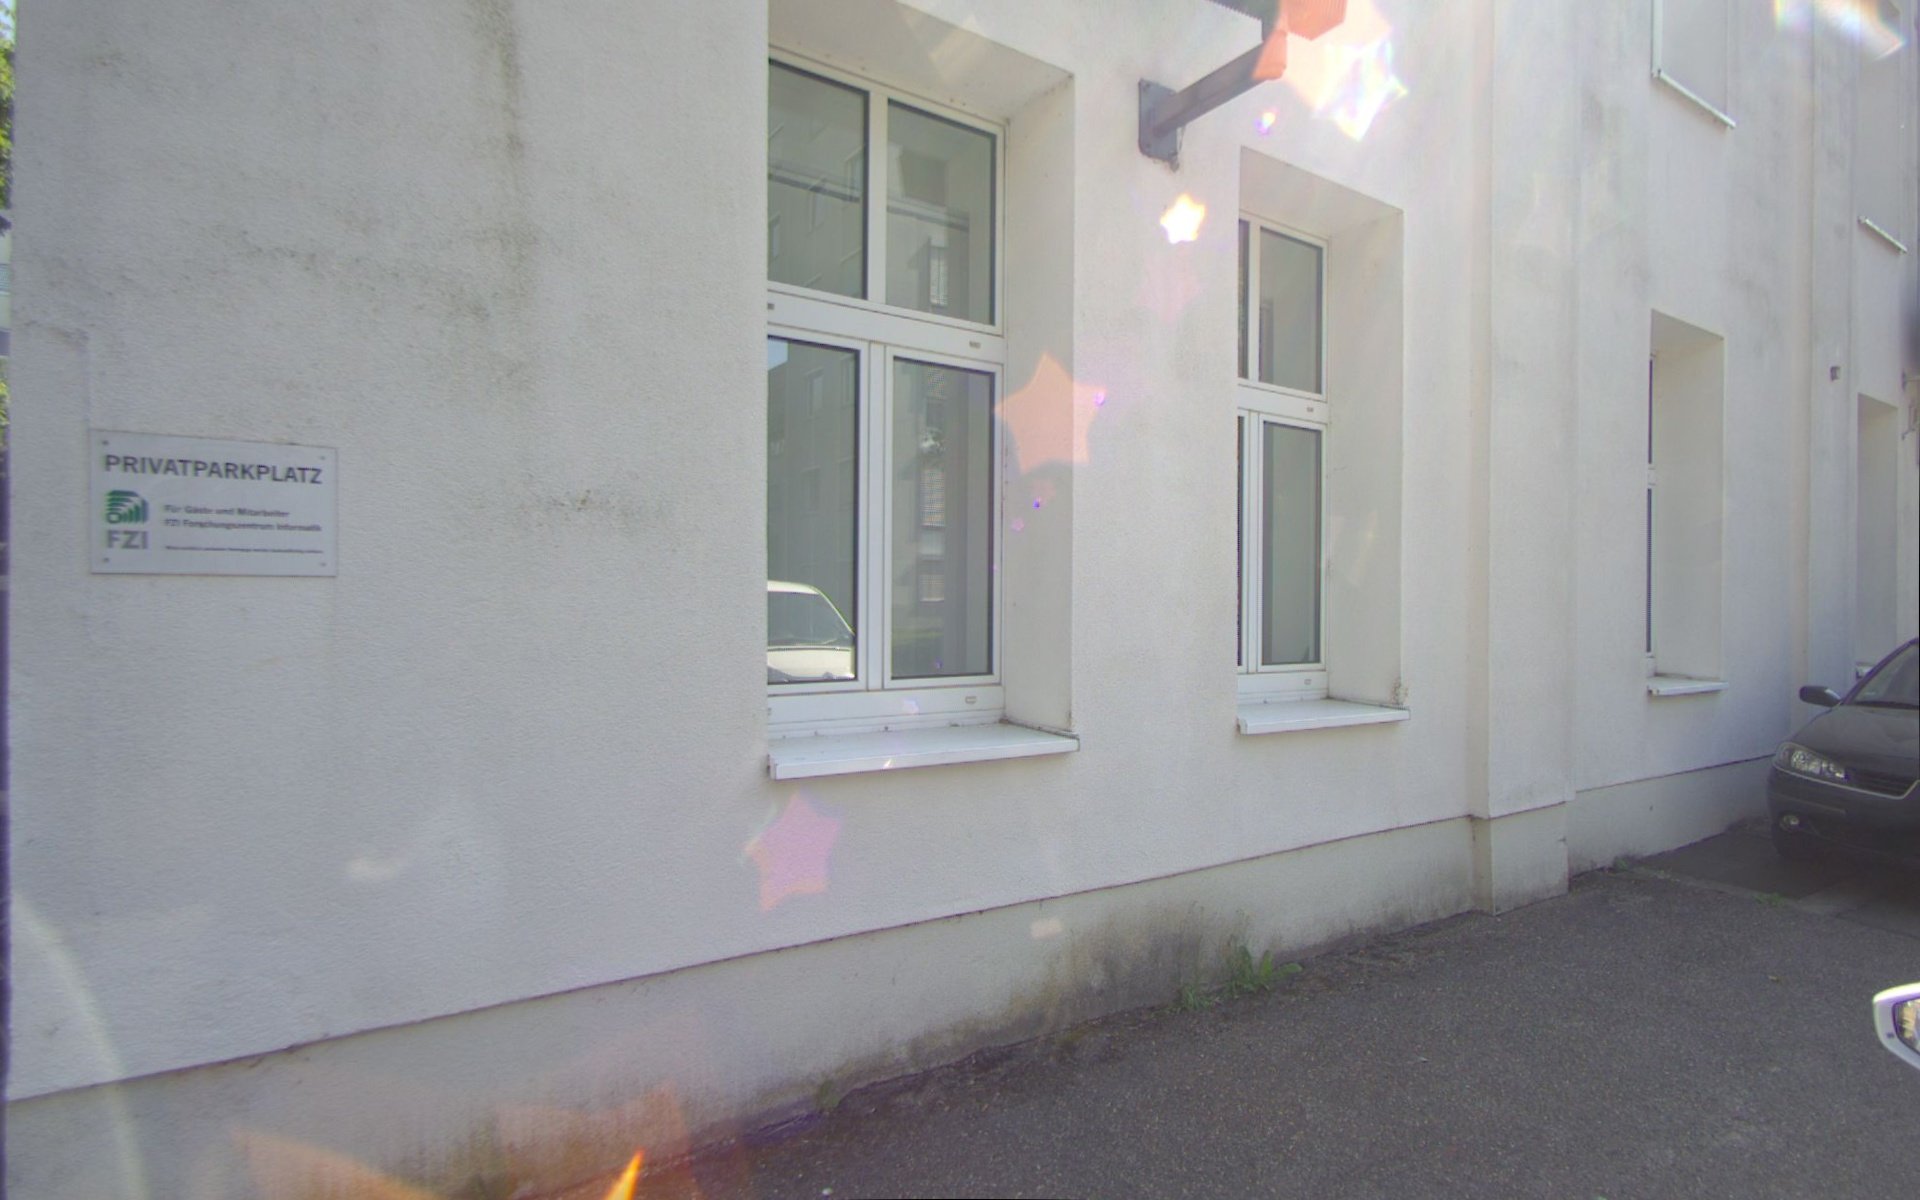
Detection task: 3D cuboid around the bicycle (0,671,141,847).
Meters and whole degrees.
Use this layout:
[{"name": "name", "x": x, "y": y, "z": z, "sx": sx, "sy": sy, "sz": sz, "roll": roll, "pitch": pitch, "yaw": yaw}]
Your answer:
[{"name": "bicycle", "x": -5.995, "y": 0.977, "z": 6.102, "sx": 1.524, "sy": 1.005, "sz": 0.442, "roll": 0, "pitch": -1, "yaw": -32}]

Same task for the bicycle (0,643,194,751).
[{"name": "bicycle", "x": -8.897, "y": 0.970, "z": 10.363, "sx": 1.524, "sy": 1.005, "sz": 0.442, "roll": 0, "pitch": -1, "yaw": -32}]

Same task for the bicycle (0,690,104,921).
[{"name": "bicycle", "x": -4.932, "y": 0.958, "z": 4.455, "sx": 1.666, "sy": 1.005, "sz": 0.442, "roll": 0, "pitch": -1, "yaw": -32}]

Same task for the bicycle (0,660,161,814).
[{"name": "bicycle", "x": -6.626, "y": 0.957, "z": 7.058, "sx": 1.524, "sy": 1.005, "sz": 0.442, "roll": 0, "pitch": -1, "yaw": -32}]

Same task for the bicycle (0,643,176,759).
[{"name": "bicycle", "x": -8.419, "y": 0.939, "z": 9.506, "sx": 1.524, "sy": 1.005, "sz": 0.442, "roll": 0, "pitch": -1, "yaw": -32}]

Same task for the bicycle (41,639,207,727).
[{"name": "bicycle", "x": -10.236, "y": 0.993, "z": 12.364, "sx": 1.526, "sy": 1.005, "sz": 0.441, "roll": 1, "pitch": 0, "yaw": -36}]

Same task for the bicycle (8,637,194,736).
[{"name": "bicycle", "x": -9.560, "y": 0.944, "z": 11.243, "sx": 1.524, "sy": 1.005, "sz": 0.442, "roll": 0, "pitch": -1, "yaw": -32}]

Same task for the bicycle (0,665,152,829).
[{"name": "bicycle", "x": -6.323, "y": 0.971, "z": 6.600, "sx": 1.524, "sy": 1.005, "sz": 0.442, "roll": 0, "pitch": -1, "yaw": -32}]

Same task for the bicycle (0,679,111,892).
[{"name": "bicycle", "x": -5.223, "y": 0.936, "z": 4.859, "sx": 1.647, "sy": 1.005, "sz": 0.442, "roll": 0, "pitch": -1, "yaw": -32}]

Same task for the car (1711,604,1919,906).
[{"name": "car", "x": 6.598, "y": 0.876, "z": 6.198, "sx": 4.386, "sy": 1.461, "sz": 1.825, "roll": 3, "pitch": 1, "yaw": -35}]

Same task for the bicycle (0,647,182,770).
[{"name": "bicycle", "x": -7.966, "y": 0.949, "z": 9.004, "sx": 1.525, "sy": 1.005, "sz": 0.442, "roll": 0, "pitch": -1, "yaw": -34}]

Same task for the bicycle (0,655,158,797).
[{"name": "bicycle", "x": -7.103, "y": 0.954, "z": 7.631, "sx": 1.524, "sy": 1.005, "sz": 0.442, "roll": 0, "pitch": -1, "yaw": -32}]
